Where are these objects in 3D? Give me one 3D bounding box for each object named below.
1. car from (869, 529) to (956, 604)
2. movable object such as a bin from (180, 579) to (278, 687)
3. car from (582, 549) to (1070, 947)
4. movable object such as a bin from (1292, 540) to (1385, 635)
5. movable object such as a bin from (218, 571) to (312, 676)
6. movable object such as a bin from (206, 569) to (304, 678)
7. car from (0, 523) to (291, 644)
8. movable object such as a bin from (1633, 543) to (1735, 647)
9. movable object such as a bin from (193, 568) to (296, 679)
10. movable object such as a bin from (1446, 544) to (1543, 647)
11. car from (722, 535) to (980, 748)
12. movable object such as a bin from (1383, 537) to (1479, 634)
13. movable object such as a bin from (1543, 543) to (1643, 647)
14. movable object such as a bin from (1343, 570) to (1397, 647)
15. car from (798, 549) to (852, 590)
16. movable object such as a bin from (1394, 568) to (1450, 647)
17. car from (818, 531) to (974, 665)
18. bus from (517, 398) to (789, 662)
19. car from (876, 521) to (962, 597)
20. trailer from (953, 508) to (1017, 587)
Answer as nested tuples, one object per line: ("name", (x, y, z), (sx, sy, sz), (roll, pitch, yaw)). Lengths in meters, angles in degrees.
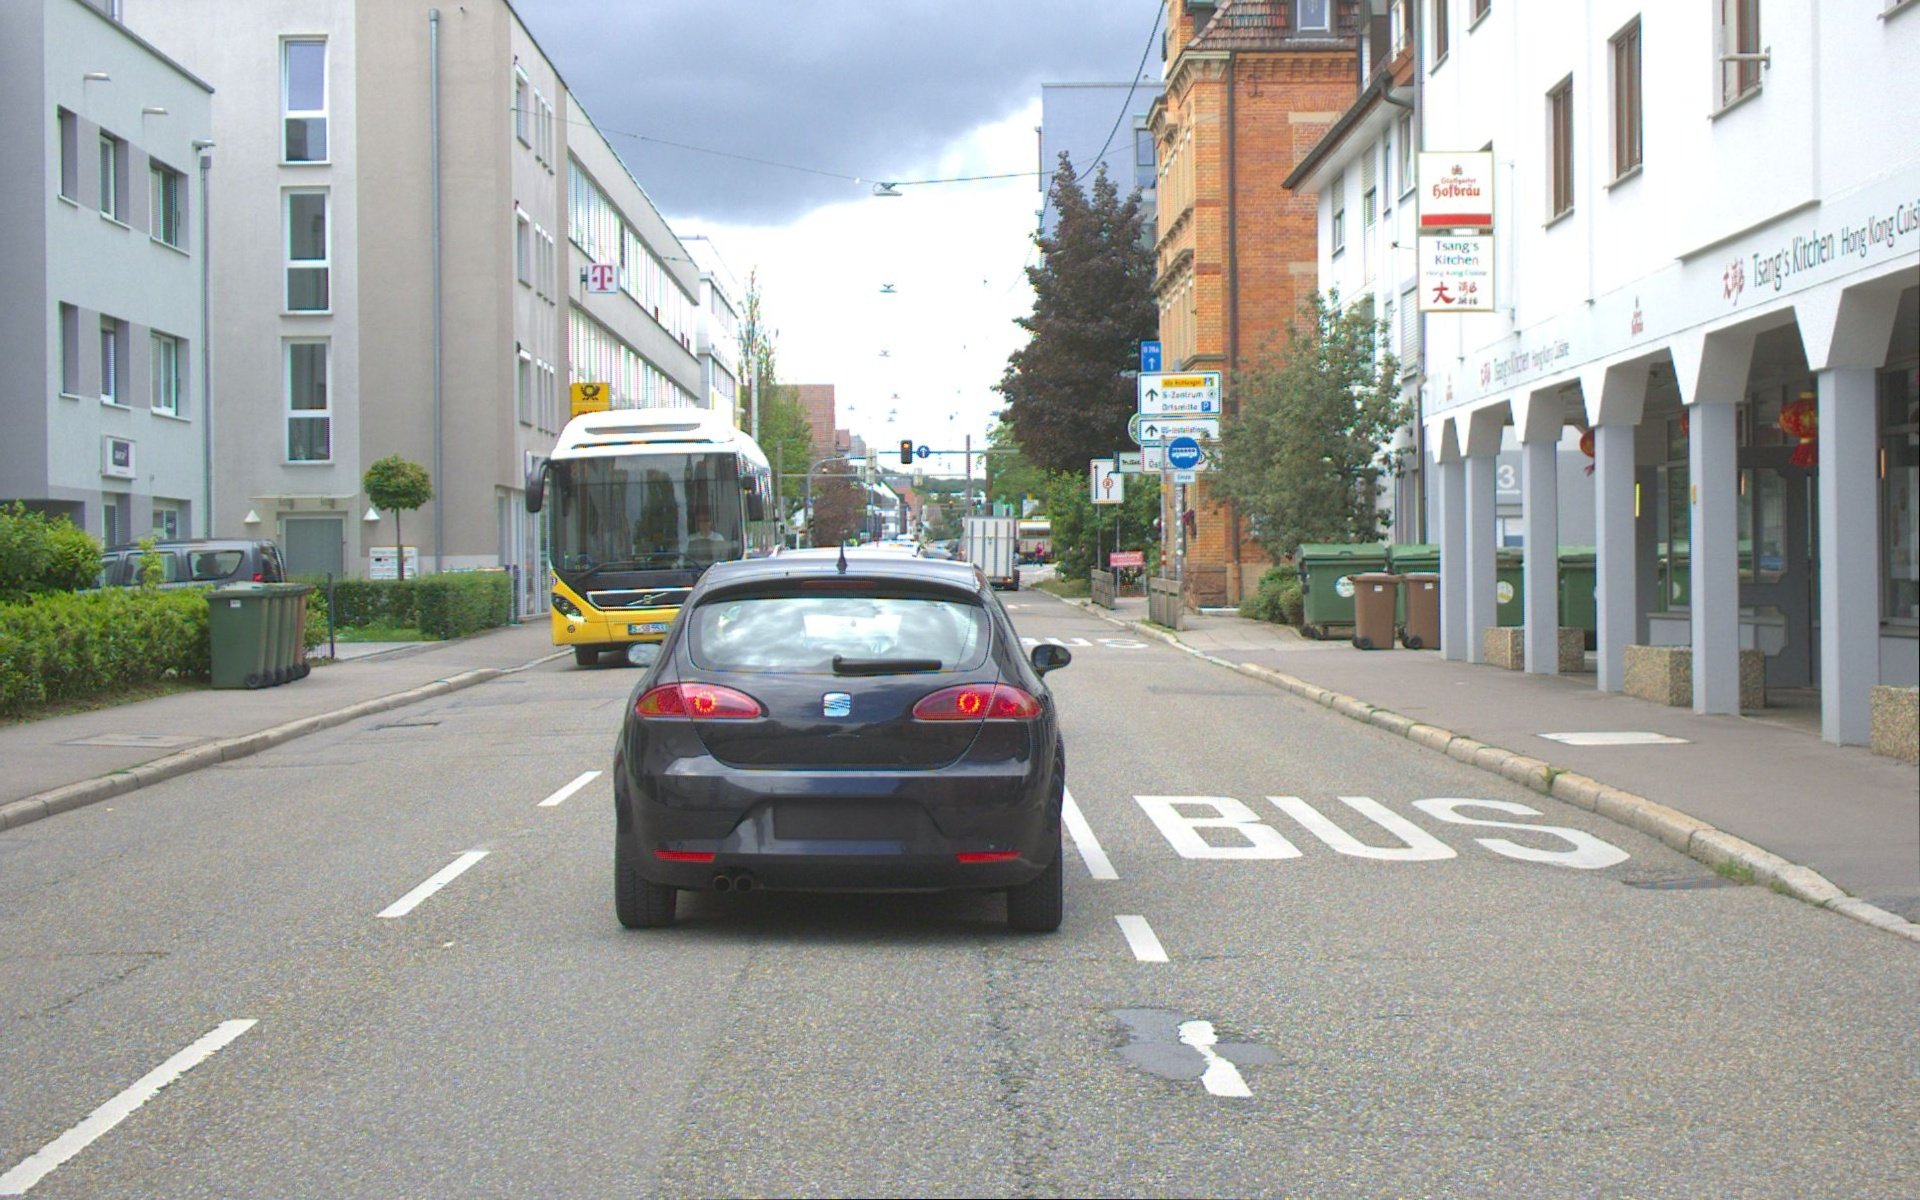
("car", (-1.036, -0.724, 73.416), (1.803, 1.547, 3.738), (0, 1, -1))
("movable object such as a bin", (-7.550, 0.335, 35.531), (0.894, 1.085, 0.793), (0, 1, -5))
("car", (-0.505, 0.508, 14.395), (1.765, 1.428, 3.828), (0, 1, -1))
("movable object such as a bin", (5.724, -0.201, 52.053), (1.267, 1.412, 1.162), (0, 1, 0))
("movable object such as a bin", (-7.667, 0.253, 37.940), (0.940, 1.147, 0.613), (0, 1, -5))
("movable object such as a bin", (-7.634, 0.248, 37.242), (0.948, 1.147, 0.749), (0, 1, -5))
("car", (-11.781, -0.230, 48.828), (4.163, 1.662, 1.724), (0, 0, 3))
("movable object such as a bin", (10.038, -0.078, 47.697), (1.209, 1.412, 1.259), (0, 1, 3))
("movable object such as a bin", (-7.573, 0.239, 36.421), (0.956, 1.147, 0.840), (0, 1, -5))
("movable object such as a bin", (7.417, -0.075, 47.758), (1.209, 1.412, 1.259), (0, 1, 3))
("car", (-0.803, 0.259, 25.980), (1.803, 1.487, 3.738), (0, 1, -1))
("movable object such as a bin", (7.081, -0.226, 51.744), (1.267, 1.430, 1.307), (0, 1, 0))
("movable object such as a bin", (8.781, -0.078, 47.742), (1.209, 1.412, 1.259), (0, 1, 3))
("movable object such as a bin", (5.734, 0.111, 48.135), (0.683, 1.063, 0.971), (0, 1, 3))
("car", (-5.130, -1.188, 131.066), (1.878, 1.446, 4.214), (-3, 1, -1))
("movable object such as a bin", (6.464, 0.098, 48.109), (0.698, 1.075, 0.971), (0, 1, 3))
("car", (-0.782, -0.054, 41.787), (1.803, 1.547, 3.738), (0, 1, -1))
("bus", (-4.206, -1.015, 49.738), (2.942, 3.262, 12.009), (-2, 1, -1))
("car", (-0.915, -0.912, 75.059), (1.803, 1.596, 3.738), (1, 1, -1))
("trailer", (0.805, -1.771, 116.118), (1.993, 2.598, 5.349), (0, 1, -1))
